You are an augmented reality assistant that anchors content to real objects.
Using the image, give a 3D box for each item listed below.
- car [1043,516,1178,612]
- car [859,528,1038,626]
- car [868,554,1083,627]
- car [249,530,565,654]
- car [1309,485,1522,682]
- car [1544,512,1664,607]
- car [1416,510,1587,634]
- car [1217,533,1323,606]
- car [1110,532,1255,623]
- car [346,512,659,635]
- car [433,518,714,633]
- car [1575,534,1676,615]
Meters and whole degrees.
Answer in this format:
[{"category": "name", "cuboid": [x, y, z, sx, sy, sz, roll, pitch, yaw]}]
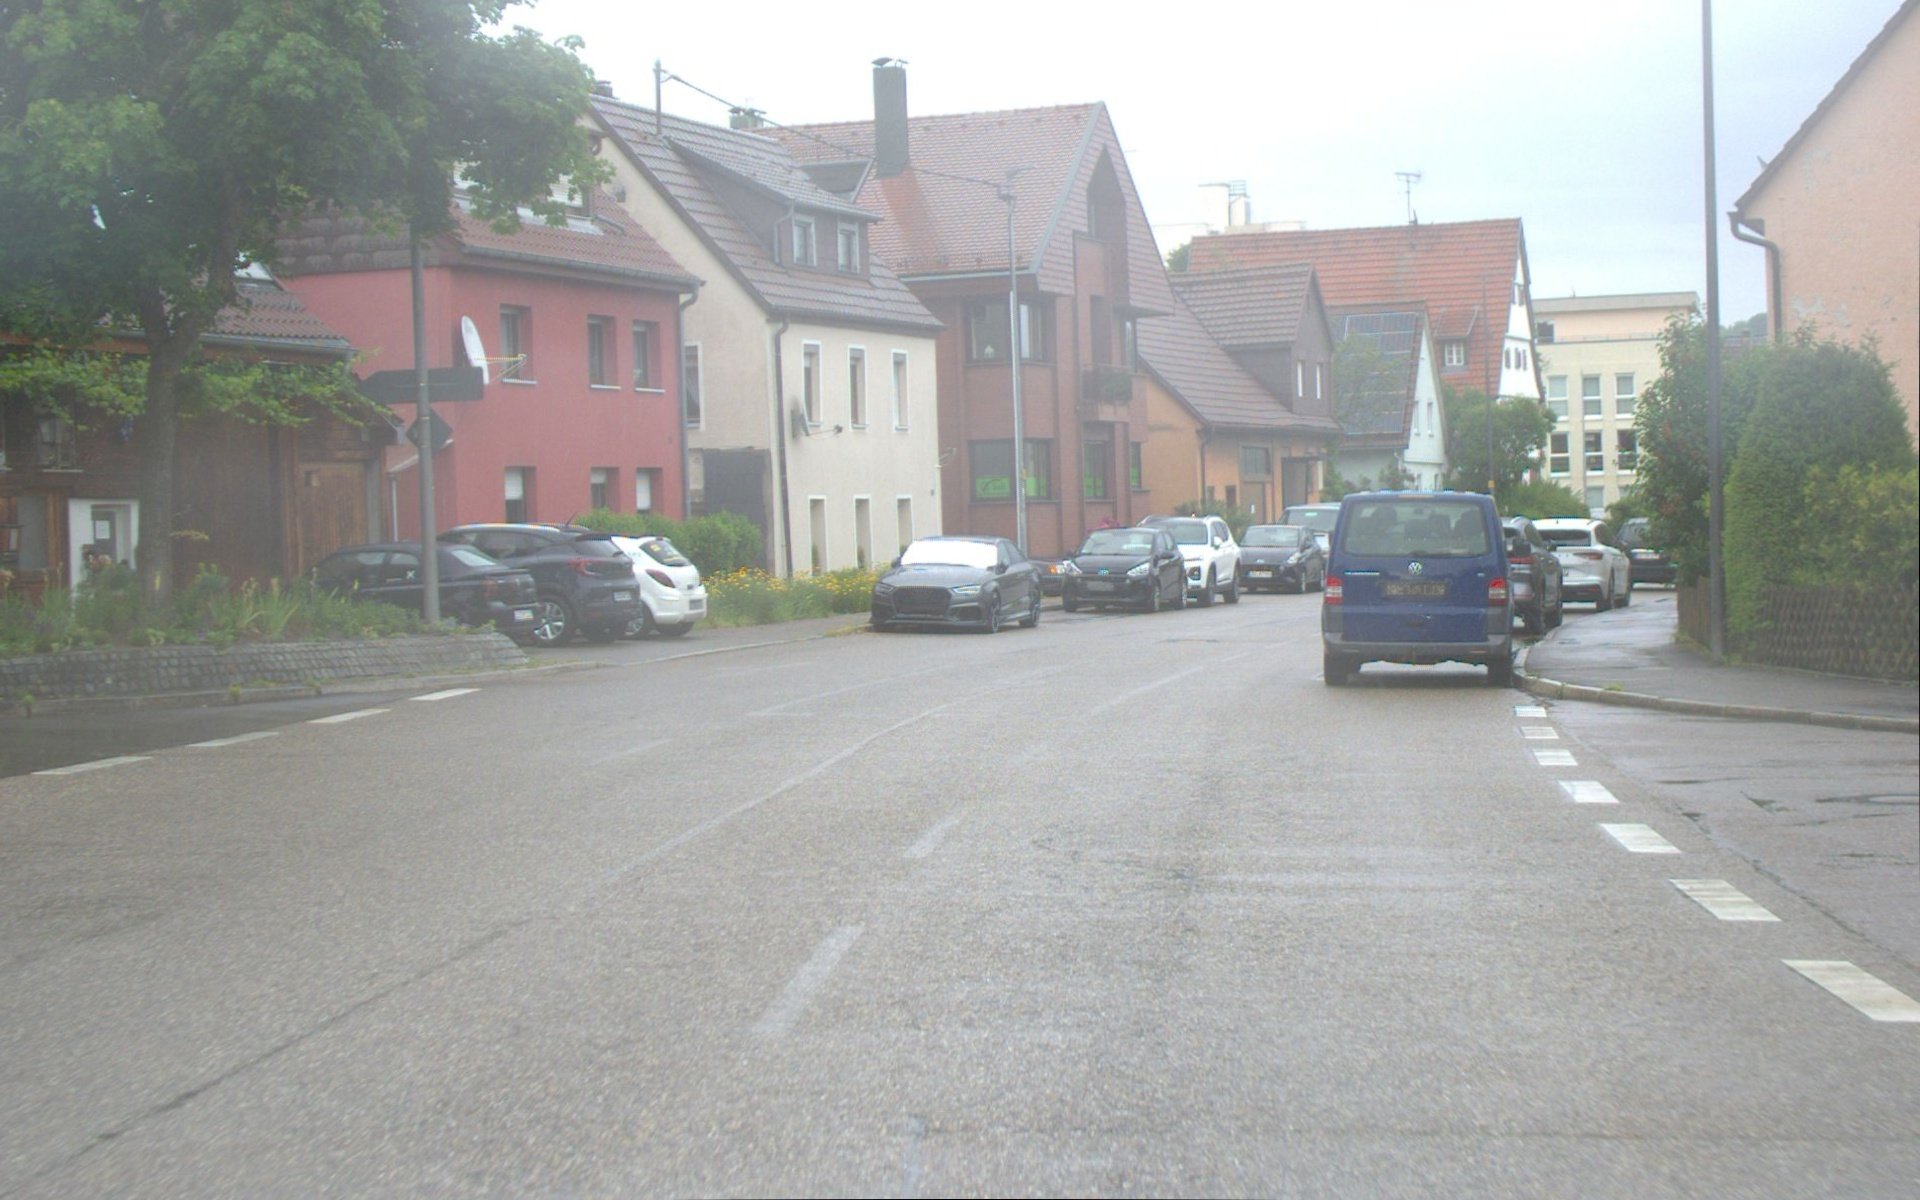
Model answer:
[{"category": "car", "cuboid": [2.696, -0.654, 61.050, 1.606, 1.612, 3.274, -1, 1, 16]}, {"category": "car", "cuboid": [-0.126, -0.371, 50.883, 1.628, 1.351, 4.108, 1, 1, 15]}, {"category": "car", "cuboid": [0.330, -0.207, 72.954, 4.177, 1.398, 1.787, -1, 1, 23]}, {"category": "car", "cuboid": [-6.797, -0.104, 42.334, 3.449, 1.413, 1.631, -1, 1, 18]}, {"category": "car", "cuboid": [4.651, -0.208, 35.671, 1.931, 1.896, 4.793, 0, 1, 5]}, {"category": "car", "cuboid": [11.272, -0.722, 59.986, 1.804, 1.589, 4.609, 0, 1, 14]}, {"category": "car", "cuboid": [8.060, -0.451, 50.864, 1.910, 1.711, 4.552, 1, 2, 16]}, {"category": "car", "cuboid": [6.744, -0.680, 74.554, 1.579, 1.492, 3.564, -1, 1, 16]}, {"category": "car", "cuboid": [4.278, -0.457, 65.522, 1.765, 1.613, 4.653, -1, 1, 16]}, {"category": "car", "cuboid": [-5.958, -0.370, 44.863, 3.579, 1.501, 1.854, 2, 2, 20]}, {"category": "car", "cuboid": [-5.301, -0.335, 47.218, 3.464, 1.474, 1.589, -1, 1, 18]}, {"category": "car", "cuboid": [14.889, -0.586, 76.758, 1.751, 1.704, 3.997, -1, 1, 17]}]
